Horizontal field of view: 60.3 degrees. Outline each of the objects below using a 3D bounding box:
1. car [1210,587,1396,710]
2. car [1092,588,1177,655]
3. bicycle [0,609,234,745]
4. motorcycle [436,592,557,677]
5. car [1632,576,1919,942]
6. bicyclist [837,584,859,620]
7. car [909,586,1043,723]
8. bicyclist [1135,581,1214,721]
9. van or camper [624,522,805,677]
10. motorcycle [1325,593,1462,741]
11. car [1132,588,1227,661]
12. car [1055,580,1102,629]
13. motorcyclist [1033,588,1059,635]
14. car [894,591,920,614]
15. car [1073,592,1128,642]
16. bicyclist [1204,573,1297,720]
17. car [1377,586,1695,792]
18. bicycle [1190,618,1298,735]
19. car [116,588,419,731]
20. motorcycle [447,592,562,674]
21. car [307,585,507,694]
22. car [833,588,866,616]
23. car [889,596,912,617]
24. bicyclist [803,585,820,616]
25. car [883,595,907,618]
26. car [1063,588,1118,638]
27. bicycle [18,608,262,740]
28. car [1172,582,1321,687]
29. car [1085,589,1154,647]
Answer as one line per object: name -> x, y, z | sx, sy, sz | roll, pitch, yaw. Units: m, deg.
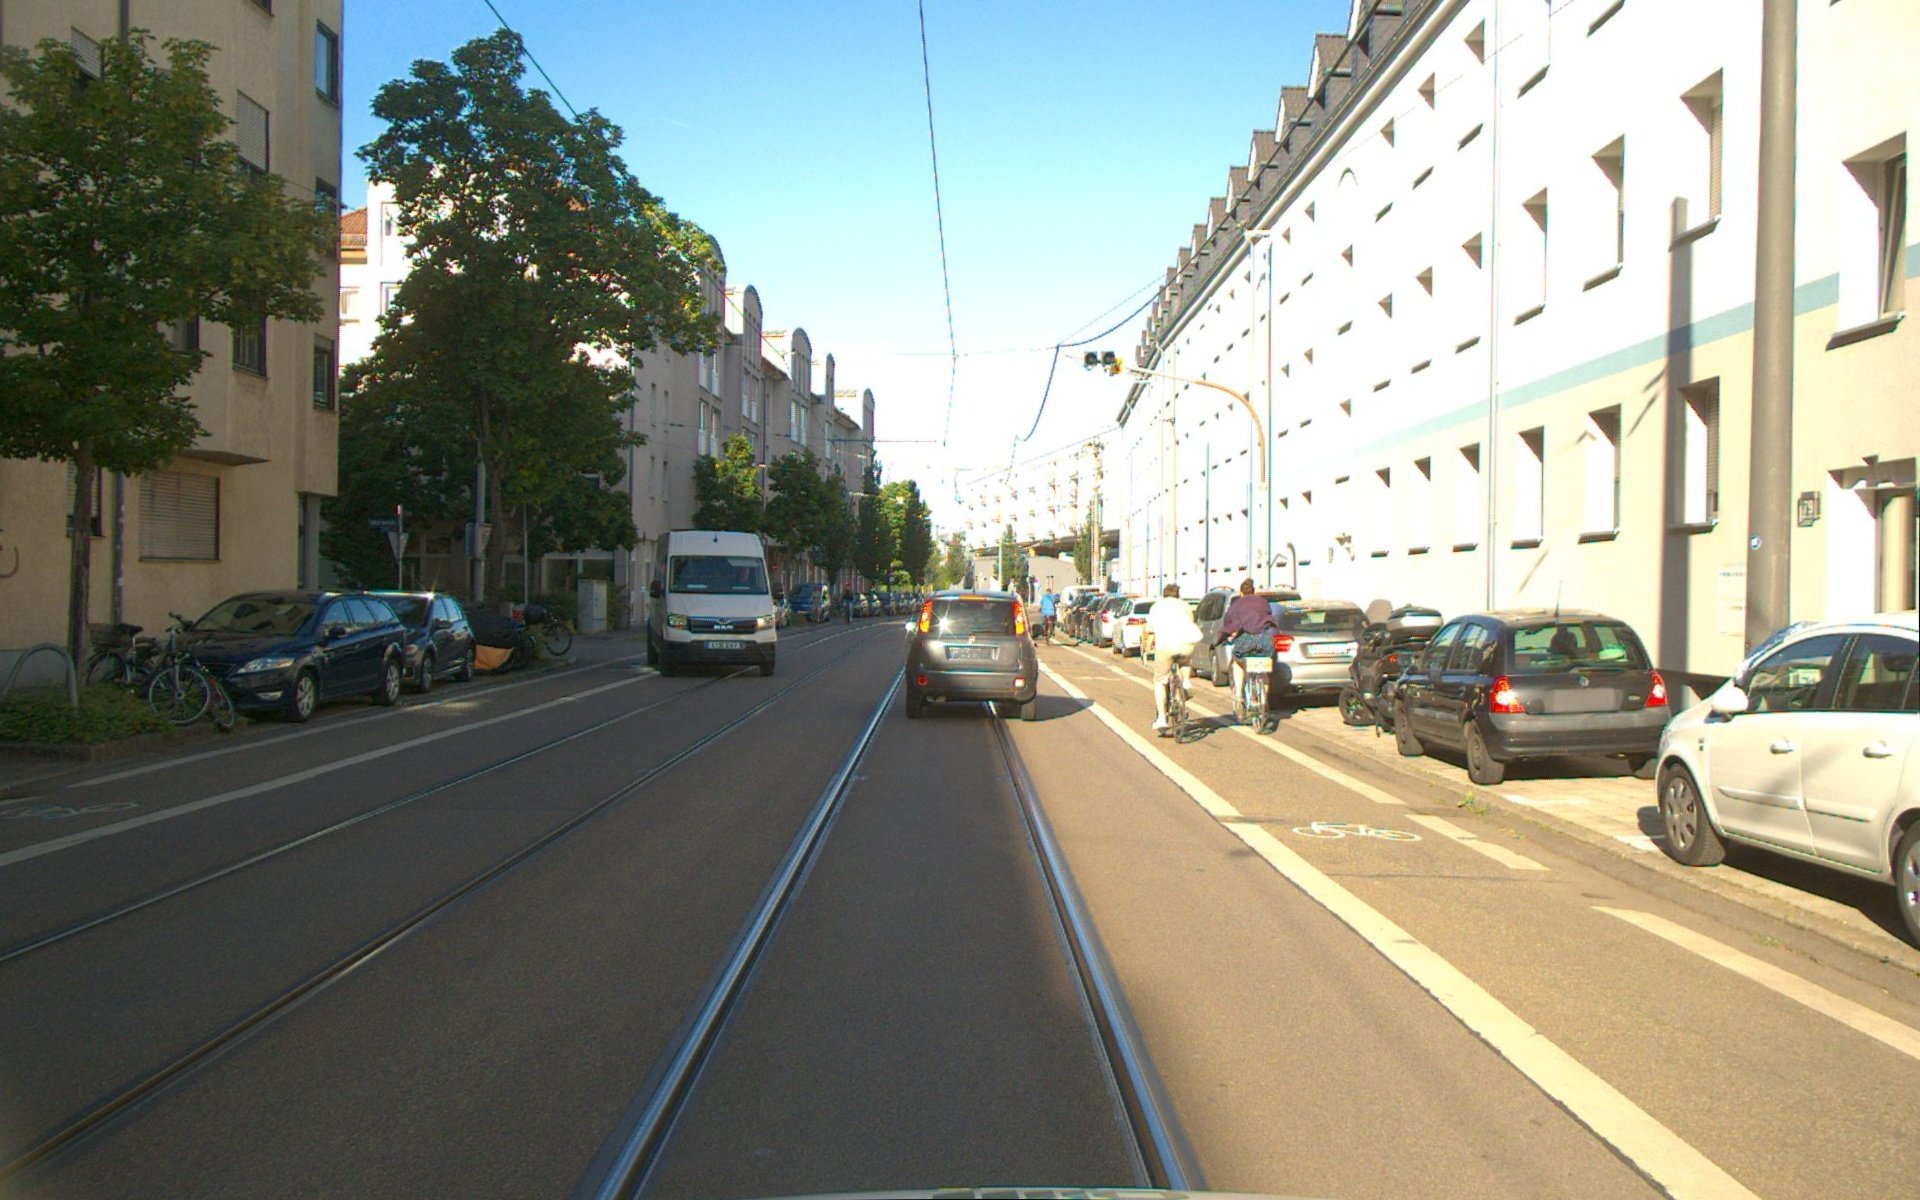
car -> 4.841, 0.621, 23.905 | 1.825, 1.582, 4.367 | -1, 0, 1
car -> 4.437, 0.500, 42.564 | 1.645, 1.598, 4.509 | -1, 0, 0
bicycle -> -8.777, 0.781, 17.060 | 2.246, 1.357, 0.699 | 0, 0, -1
motorcycle -> -8.125, 0.597, 29.087 | 1.931, 1.472, 0.835 | 0, 0, -8
car -> 5.087, 0.682, 8.343 | 1.763, 1.598, 3.903 | -1, 0, 0
bicyclist -> -5.187, 0.079, 76.511 | 0.864, 1.588, 0.868 | -3, 0, -1
car -> 0.190, 0.615, 20.723 | 1.525, 1.560, 3.486 | 1, 0, 0
bicyclist -> 2.342, 0.536, 18.141 | 0.713, 1.487, 1.020 | 0, 0, -1
van or camper -> -4.802, -0.036, 31.310 | 2.333, 2.598, 6.800 | 0, 0, -18
motorcycle -> 4.866, 0.704, 18.766 | 0.789, 1.548, 2.708 | 0, 0, -1
car -> 4.987, 0.525, 38.028 | 1.483, 1.455, 4.201 | -5, 0, -1
car -> 5.036, 0.176, 70.505 | 1.750, 2.005, 4.155 | -1, 0, 1
motorcyclist -> 2.675, 0.350, 51.355 | 0.713, 1.430, 1.020 | 0, 0, -1
car -> -4.087, 0.182, 127.958 | 1.806, 1.674, 3.698 | 0, 0, 1
car -> 4.692, 0.548, 55.606 | 1.559, 1.564, 4.008 | -2, 0, 1
bicyclist -> 3.435, 0.536, 19.633 | 0.915, 1.705, 0.969 | 0, 0, -1
car -> 5.065, 0.694, 15.087 | 1.575, 1.598, 3.904 | -1, 0, 1
bicycle -> 3.394, 0.875, 19.969 | 0.804, 1.258, 2.462 | 2, 0, -1
car -> -8.420, 0.642, 20.629 | 1.729, 1.569, 4.734 | 0, 0, 1
motorcycle -> -8.349, 0.597, 30.386 | 1.931, 1.472, 0.719 | 0, 0, -8
car -> -8.582, 0.558, 26.052 | 1.699, 1.569, 4.129 | 0, 0, 1
car -> -6.599, 0.120, 99.061 | 1.630, 1.646, 4.001 | 0, 0, 2
car -> -4.354, 0.470, 121.825 | 1.559, 1.567, 3.191 | 0, 0, 1
bicyclist -> -6.848, 0.033, 76.479 | 0.610, 1.404, 0.868 | -4, 0, 0
car -> -4.595, 0.455, 117.760 | 1.559, 1.567, 3.191 | 0, 0, 1
car -> 4.746, 0.449, 60.545 | 1.626, 1.699, 3.904 | -3, 0, 0
bicycle -> -8.790, 0.782, 17.781 | 2.246, 1.357, 0.699 | 0, 0, -1
car -> 5.029, 0.559, 29.614 | 1.719, 1.694, 4.624 | -1, 0, -2
car -> 4.790, 0.498, 50.147 | 1.718, 1.598, 3.904 | -3, 0, 1
